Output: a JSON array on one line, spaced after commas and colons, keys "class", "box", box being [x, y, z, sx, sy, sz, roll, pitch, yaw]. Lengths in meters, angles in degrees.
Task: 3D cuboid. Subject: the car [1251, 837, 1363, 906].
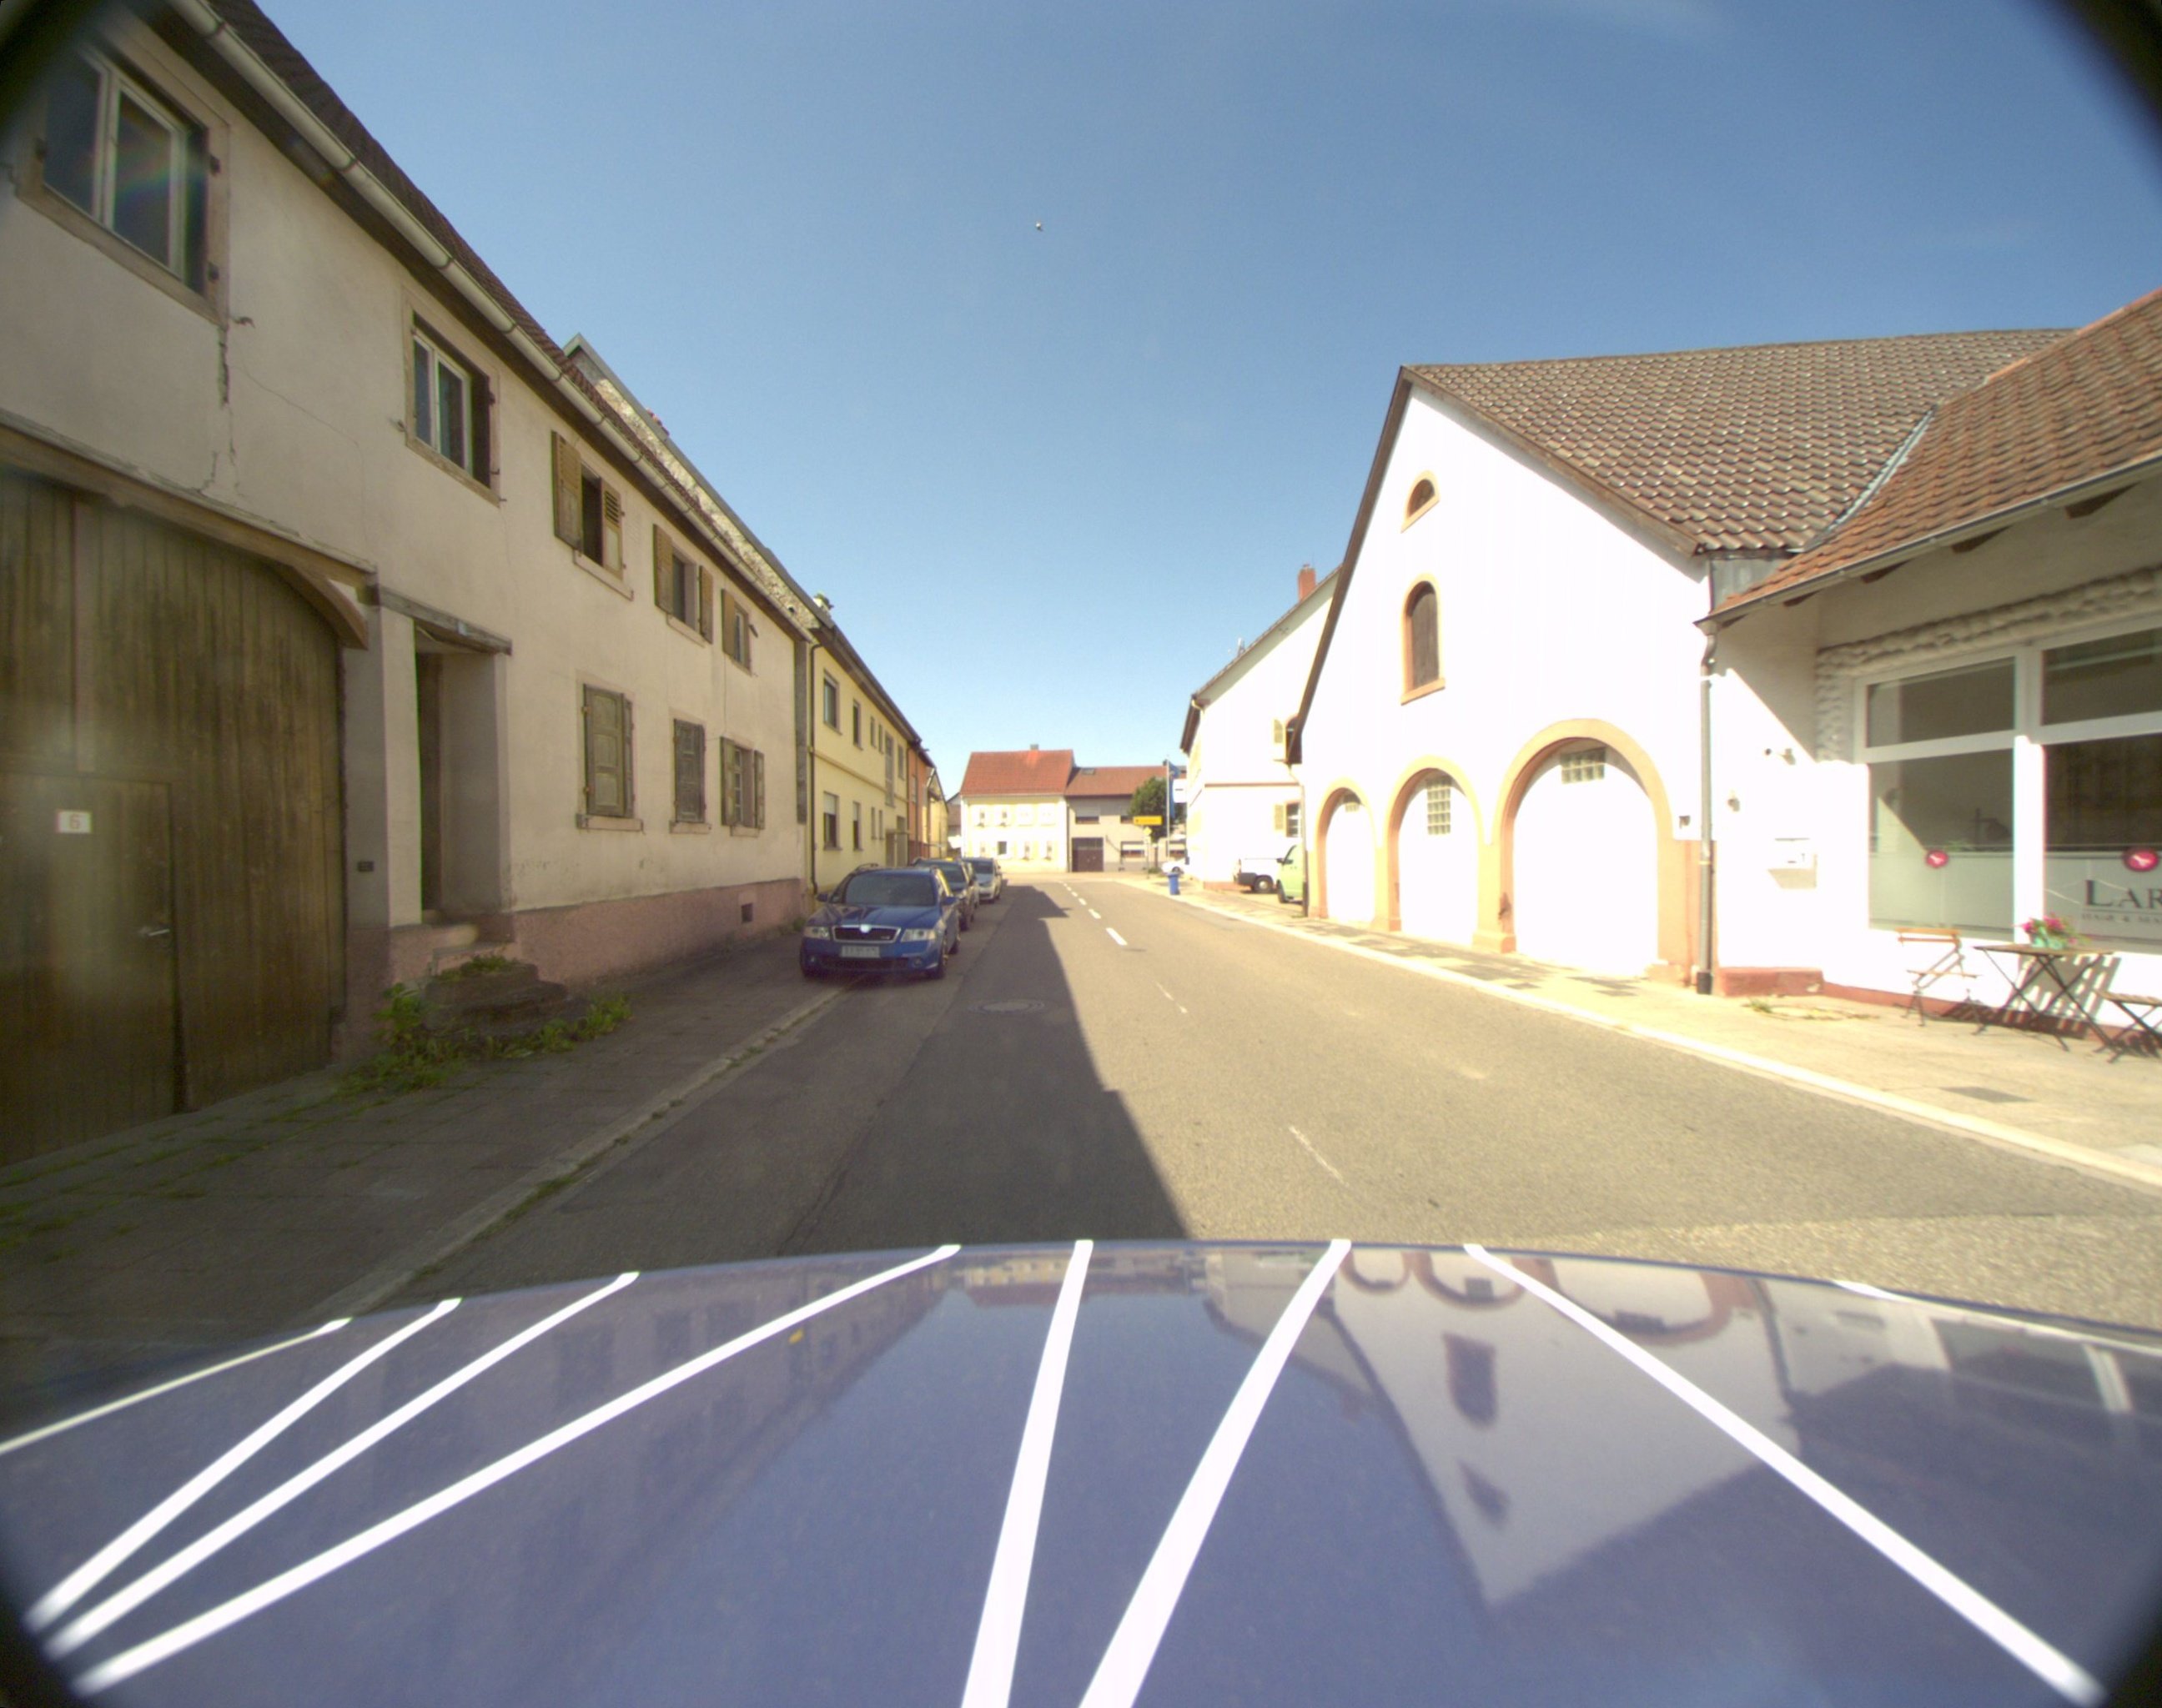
[{"class": "car", "box": [7.028, 0.499, 24.175, 1.999, 1.953, 4.668, -1, 0, -2]}]

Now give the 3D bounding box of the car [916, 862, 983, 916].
[{"class": "car", "box": [-3.900, 0.998, 23.065, 1.555, 1.430, 3.719, 1, 0, -3]}]

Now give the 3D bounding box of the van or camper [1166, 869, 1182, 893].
[{"class": "van or camper", "box": [3.834, 1.096, 31.211, 0.591, 0.946, 0.600, -1, 1, 2]}]

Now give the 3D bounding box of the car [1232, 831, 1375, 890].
[{"class": "car", "box": [8.758, 0.254, 30.321, 5.186, 2.184, 2.123, -1, 0, 7]}]

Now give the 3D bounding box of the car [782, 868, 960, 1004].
[{"class": "car", "box": [-2.758, 0.982, 10.934, 1.704, 1.461, 4.407, 1, 0, -5]}]

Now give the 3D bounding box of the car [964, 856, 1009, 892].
[{"class": "car", "box": [-4.709, 0.930, 38.361, 1.849, 1.692, 5.179, 0, 0, -3]}]

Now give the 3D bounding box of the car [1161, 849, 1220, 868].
[{"class": "car", "box": [9.119, 0.379, 63.562, 4.512, 1.432, 1.854, -1, 0, -7]}]

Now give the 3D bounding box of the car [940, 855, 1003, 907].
[{"class": "car", "box": [-3.969, 0.934, 28.201, 1.903, 1.718, 4.247, -1, 0, -3]}]

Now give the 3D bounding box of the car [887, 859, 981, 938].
[{"class": "car", "box": [-3.307, 0.935, 17.722, 1.704, 1.574, 4.025, 1, 0, -5]}]
